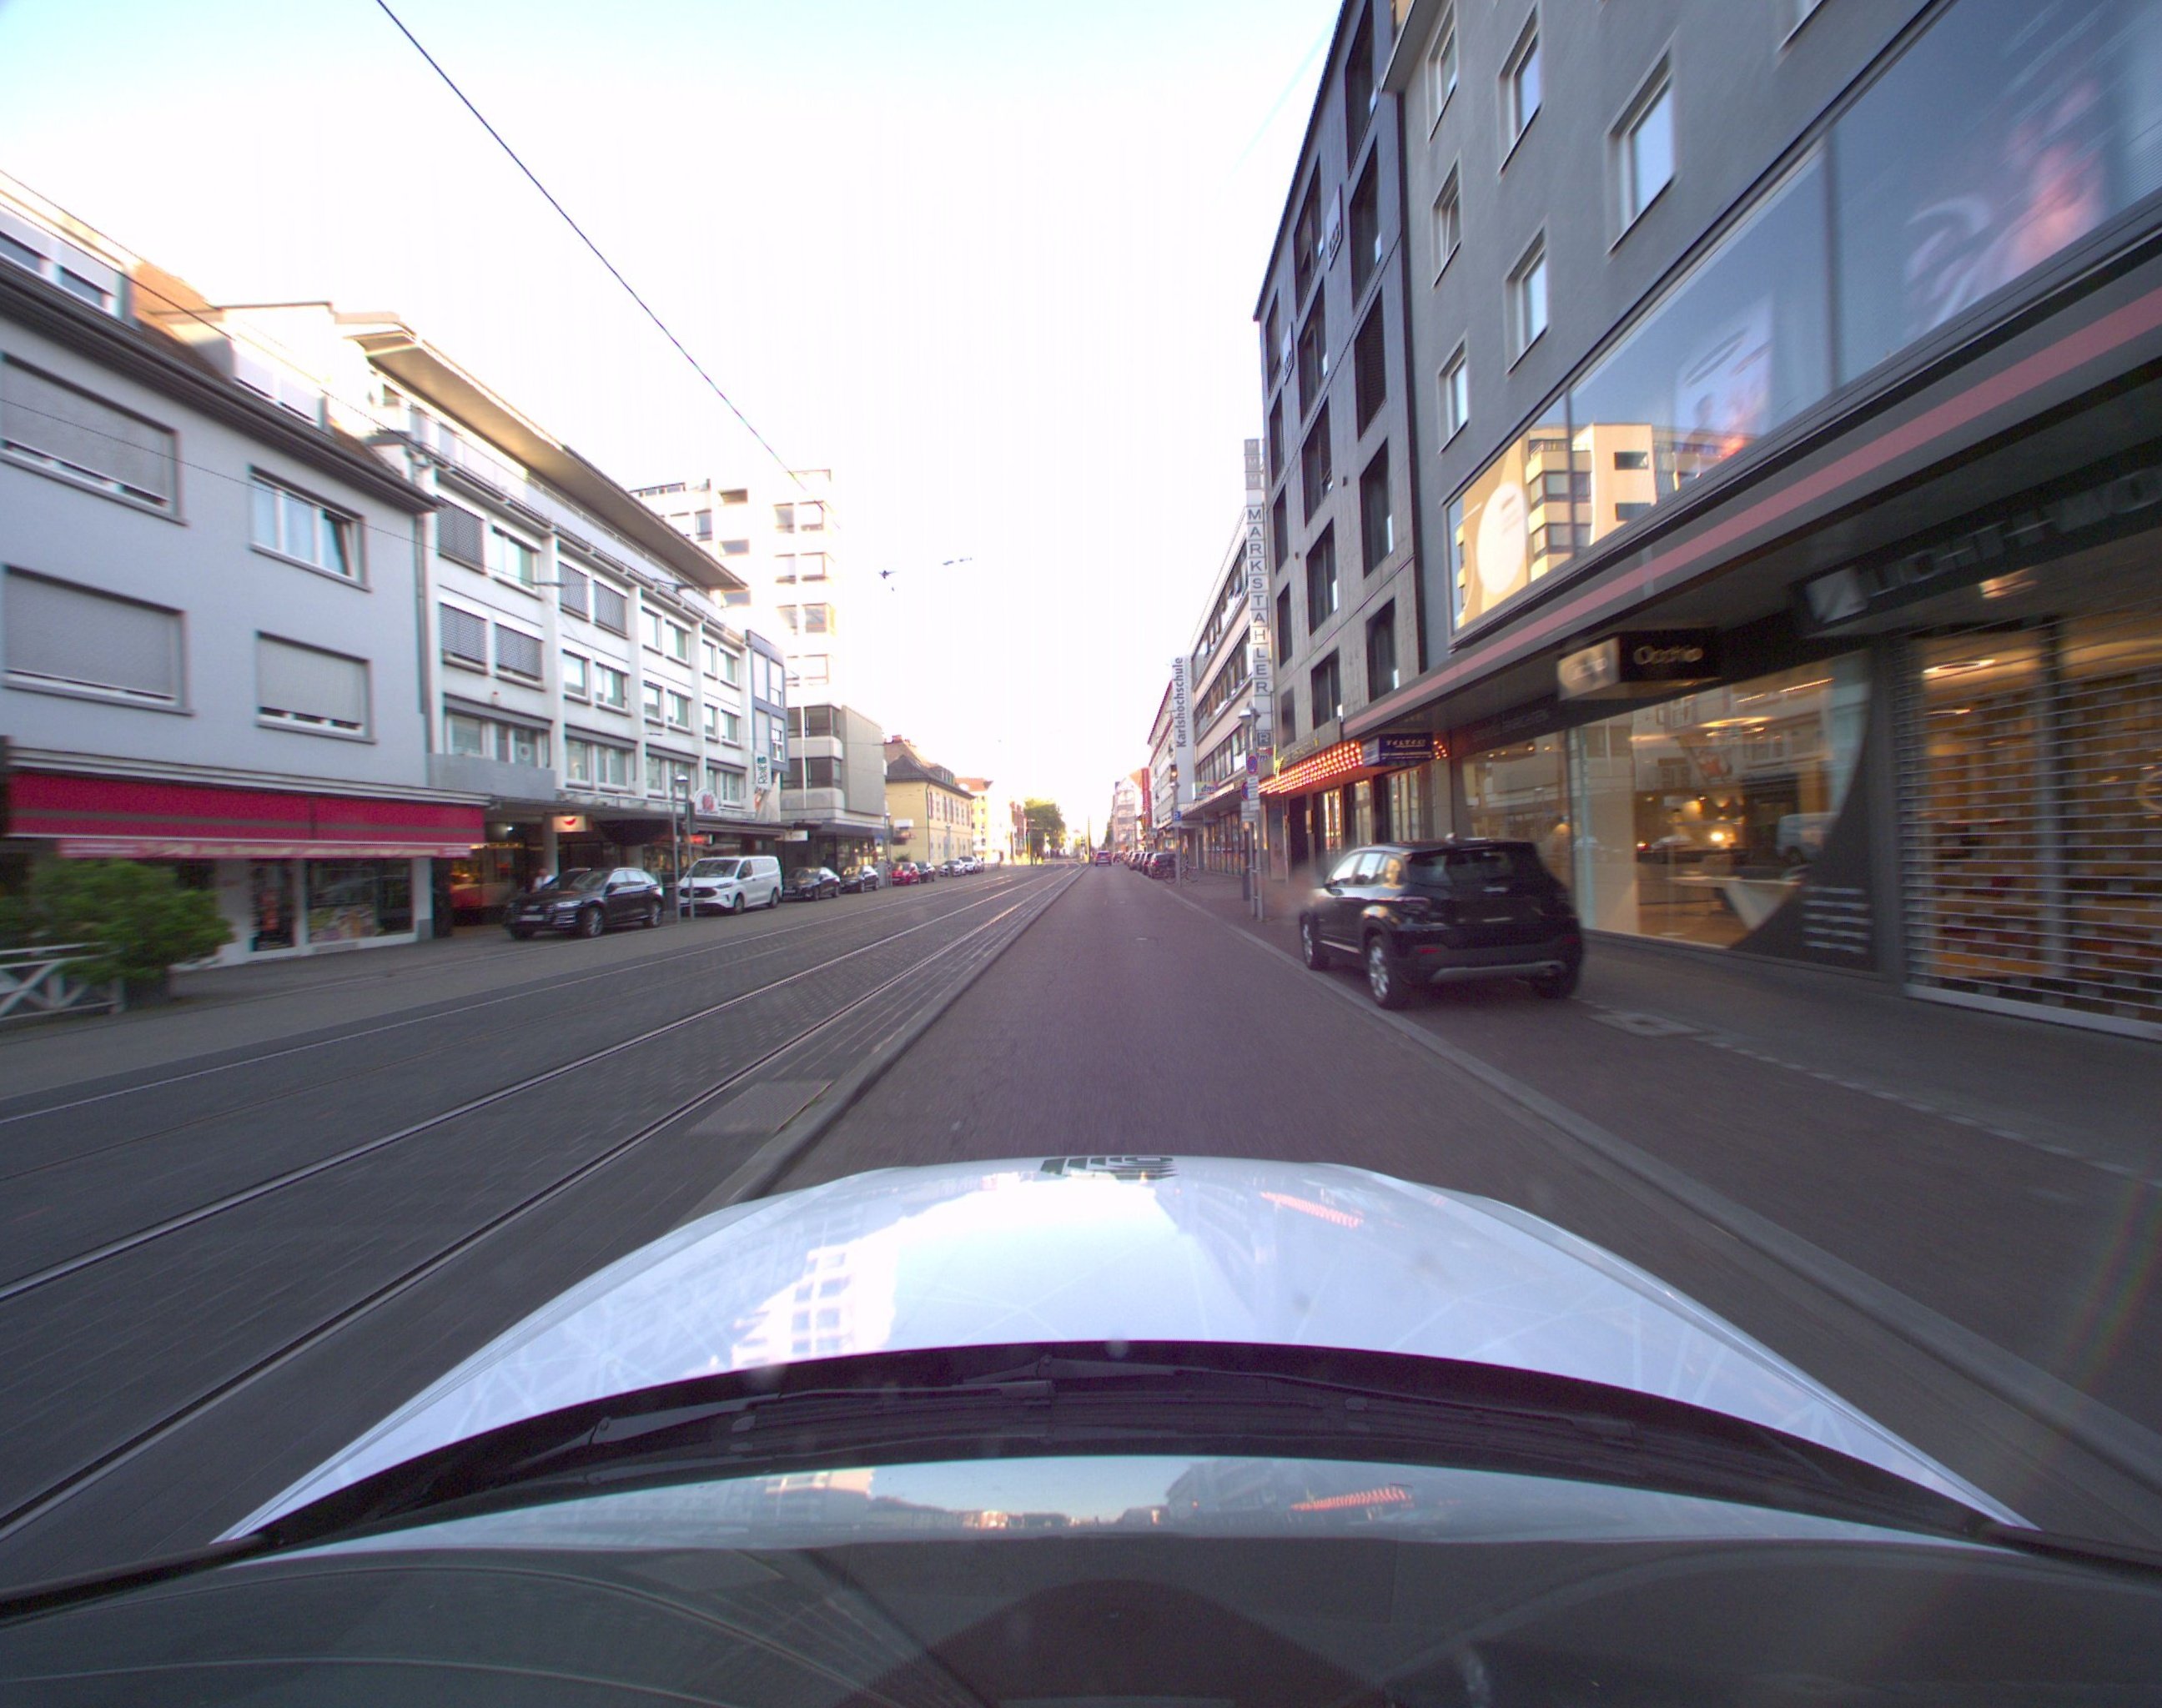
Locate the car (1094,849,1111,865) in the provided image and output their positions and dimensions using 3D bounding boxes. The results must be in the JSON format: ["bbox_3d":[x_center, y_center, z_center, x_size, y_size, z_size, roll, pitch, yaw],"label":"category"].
[{"bbox_3d":[2.487,0.332,93.601,1.828,1.636,4.093,-3,-2,3],"label":"car"}]

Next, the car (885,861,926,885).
[{"bbox_3d":[-11.230,1.199,52.310,1.685,1.434,3.593,-2,0,1],"label":"car"}]

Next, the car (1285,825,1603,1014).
[{"bbox_3d":[3.579,0.573,8.903,1.734,1.541,3.966,-2,-1,1],"label":"car"}]

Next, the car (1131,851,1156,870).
[{"bbox_3d":[5.244,0.586,68.920,1.785,1.533,4.857,0,0,1],"label":"car"}]

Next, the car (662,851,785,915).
[{"bbox_3d":[-12.226,0.926,28.286,1.957,2.014,5.100,0,-1,0],"label":"car"}]

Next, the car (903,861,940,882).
[{"bbox_3d":[-11.190,1.198,57.389,1.685,1.425,3.966,0,0,1],"label":"car"}]

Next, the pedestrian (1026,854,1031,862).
[{"bbox_3d":[-9.334,0.695,145.027,0.900,1.375,0.853,-2,-1,-1],"label":"pedestrian"}]

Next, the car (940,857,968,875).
[{"bbox_3d":[-11.075,1.011,71.080,1.715,1.453,4.284,0,0,1],"label":"car"}]

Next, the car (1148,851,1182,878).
[{"bbox_3d":[4.801,0.592,46.780,1.648,1.463,4.024,0,-1,1],"label":"car"}]

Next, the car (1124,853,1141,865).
[{"bbox_3d":[6.047,0.565,95.205,1.783,1.413,4.688,0,0,1],"label":"car"}]

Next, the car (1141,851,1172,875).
[{"bbox_3d":[4.932,0.597,53.834,1.759,1.513,4.073,0,-1,2],"label":"car"}]

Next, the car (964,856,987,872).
[{"bbox_3d":[-10.626,1.005,82.189,1.742,1.474,4.001,0,0,1],"label":"car"}]

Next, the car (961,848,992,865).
[{"bbox_3d":[-14.166,0.351,110.366,3.994,2.014,1.990,-2,-1,-15],"label":"car"}]

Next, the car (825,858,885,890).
[{"bbox_3d":[-11.700,1.006,42.496,1.783,1.460,4.093,-2,0,2],"label":"car"}]

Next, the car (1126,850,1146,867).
[{"bbox_3d":[5.662,0.491,83.680,1.849,1.701,4.419,0,-1,1],"label":"car"}]

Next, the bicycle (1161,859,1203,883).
[{"bbox_3d":[4.667,0.773,37.711,1.790,0.972,0.575,-4,0,-2],"label":"bicycle"}]

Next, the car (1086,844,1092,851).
[{"bbox_3d":[2.505,-2.088,256.339,1.948,2.014,4.001,0,-1,1],"label":"car"}]

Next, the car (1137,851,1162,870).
[{"bbox_3d":[5.251,0.504,63.198,1.719,1.481,4.001,0,-1,2],"label":"car"}]

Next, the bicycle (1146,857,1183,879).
[{"bbox_3d":[4.452,0.763,43.503,1.834,1.110,0.642,-2,-1,-2],"label":"bicycle"}]

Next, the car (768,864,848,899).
[{"bbox_3d":[-11.955,1.168,35.956,1.865,1.427,4.572,0,0,1],"label":"car"}]

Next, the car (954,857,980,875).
[{"bbox_3d":[-10.814,1.116,77.541,1.881,1.661,4.760,0,0,0],"label":"car"}]

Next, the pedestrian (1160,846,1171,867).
[{"bbox_3d":[7.639,0.219,73.591,0.772,1.880,0.934,-3,-1,0],"label":"pedestrian"}]
